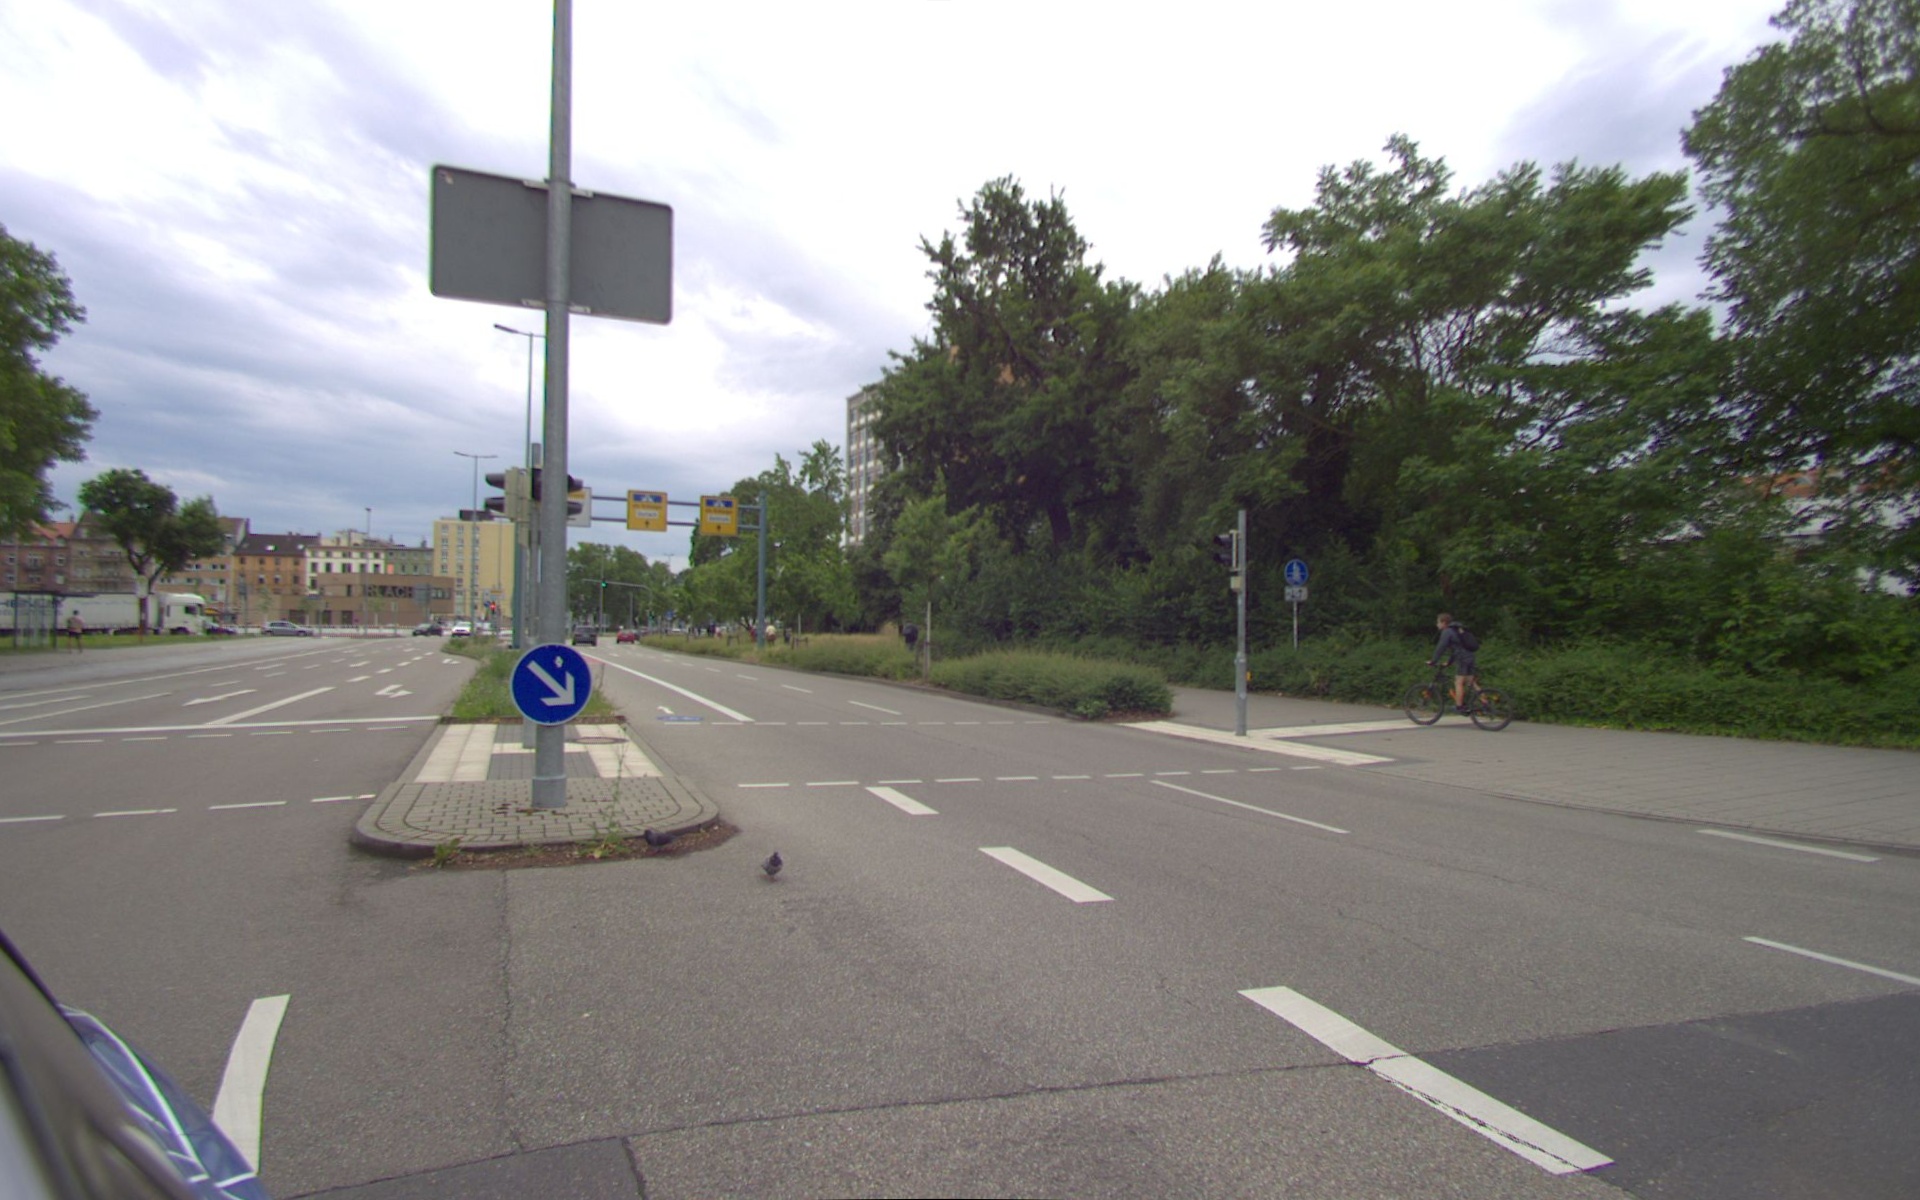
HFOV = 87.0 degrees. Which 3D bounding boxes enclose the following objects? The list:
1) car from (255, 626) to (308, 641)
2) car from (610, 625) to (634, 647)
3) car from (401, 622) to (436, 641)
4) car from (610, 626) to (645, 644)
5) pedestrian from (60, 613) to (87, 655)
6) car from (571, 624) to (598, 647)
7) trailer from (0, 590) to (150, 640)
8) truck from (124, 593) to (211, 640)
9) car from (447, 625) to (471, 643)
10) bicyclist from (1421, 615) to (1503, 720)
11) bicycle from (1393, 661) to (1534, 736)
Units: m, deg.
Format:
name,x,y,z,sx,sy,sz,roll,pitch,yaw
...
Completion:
name,x,y,z,sx,sy,sz,roll,pitch,yaw
car,-63.147,3.123,94.268,3.931,1.386,2.006,2,-2,-28
car,-32.712,3.457,98.068,1.966,2.029,4.011,1,-2,-15
car,-59.006,3.424,110.328,1.969,2.029,4.005,1,-2,-6
car,-37.559,3.928,114.394,3.998,2.029,1.973,-1,-3,41
pedestrian,-36.649,1.398,41.858,0.631,1.719,0.710,2,-3,-28
car,-30.542,2.903,82.410,1.965,1.807,4.013,2,-2,-20
trailer,-74.308,1.208,82.789,12.161,3.852,2.854,2,-1,-28
truck,-67.551,1.413,86.408,5.357,3.852,2.854,2,-1,-28
car,-51.205,3.464,103.573,2.012,1.710,5.392,-1,0,-24
bicyclist,8.064,1.054,16.280,0.755,1.620,0.925,0,-1,-39
bicycle,8.067,1.545,16.274,0.770,1.045,1.868,0,-1,-39
